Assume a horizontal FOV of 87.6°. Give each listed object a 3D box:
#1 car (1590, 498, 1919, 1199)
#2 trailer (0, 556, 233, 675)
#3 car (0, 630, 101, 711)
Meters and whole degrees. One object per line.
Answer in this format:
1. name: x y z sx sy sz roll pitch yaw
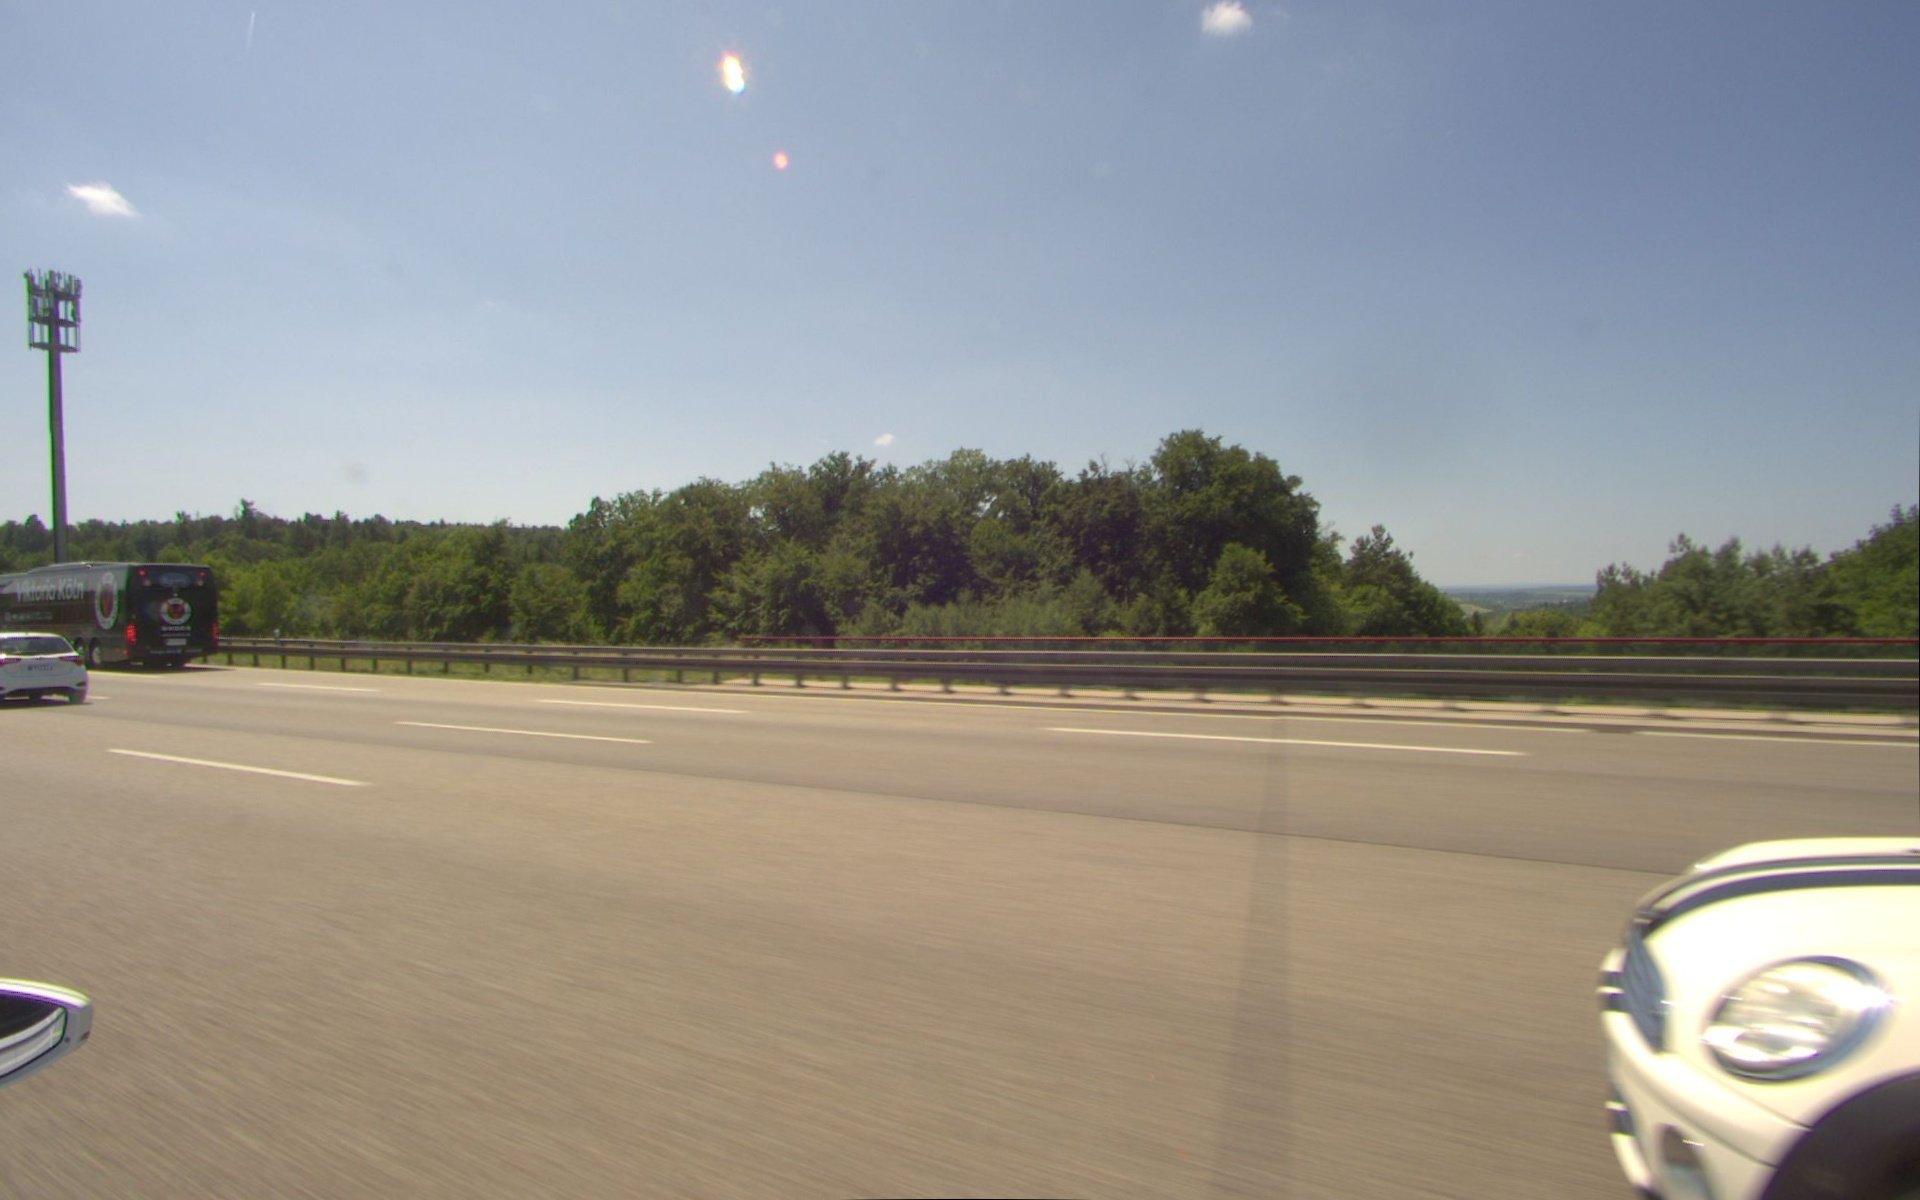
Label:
1. car: 3.396 0.703 1.646 3.942 1.570 1.840 1 -5 32
2. trailer: -30.911 0.654 36.347 13.358 3.737 2.849 -2 0 34
3. car: -20.361 1.467 21.462 4.313 1.453 1.662 -2 3 32
